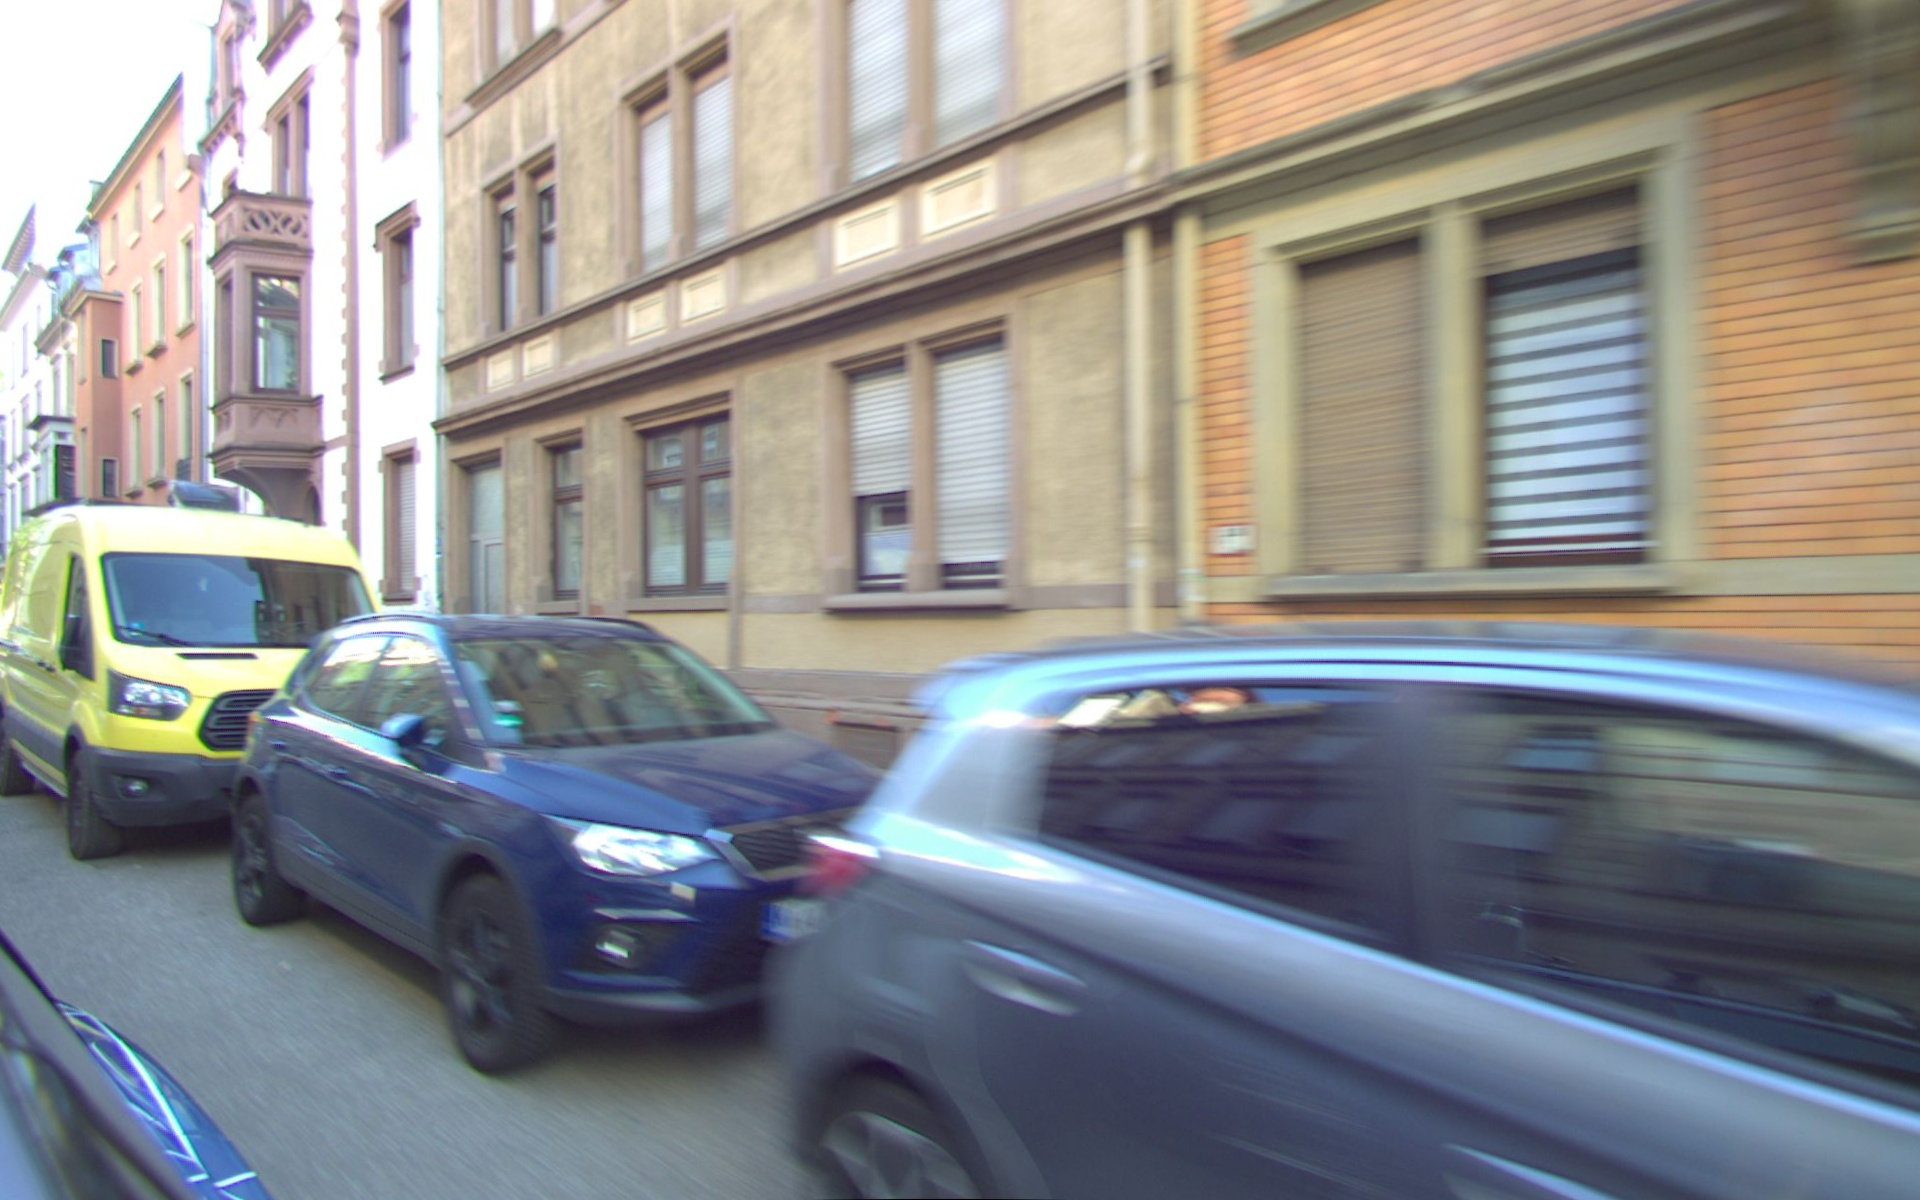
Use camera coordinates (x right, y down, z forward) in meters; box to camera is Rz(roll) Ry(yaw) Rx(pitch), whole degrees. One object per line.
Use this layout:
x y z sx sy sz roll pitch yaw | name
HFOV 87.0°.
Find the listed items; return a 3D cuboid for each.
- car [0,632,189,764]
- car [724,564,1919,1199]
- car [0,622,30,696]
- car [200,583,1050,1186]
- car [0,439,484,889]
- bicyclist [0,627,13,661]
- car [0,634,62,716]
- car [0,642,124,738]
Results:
-11.329 1.179 12.922 3.898 1.423 1.699 -2 -6 44 | car
1.422 0.692 1.562 3.643 1.460 1.659 -2 -1 41 | car
-22.807 1.342 23.120 4.066 1.618 1.763 -2 -1 40 | car
-1.786 0.798 4.703 3.997 1.564 1.973 -2 -2 41 | car
-6.410 0.461 8.434 5.874 2.527 2.152 -2 -4 41 | car
-53.878 2.457 56.538 1.120 1.930 0.970 0 -1 -16 | bicyclist
-18.962 1.407 19.698 3.917 1.486 1.676 -2 -4 41 | car
-14.551 1.338 15.840 3.610 1.337 1.601 -2 -4 40 | car
